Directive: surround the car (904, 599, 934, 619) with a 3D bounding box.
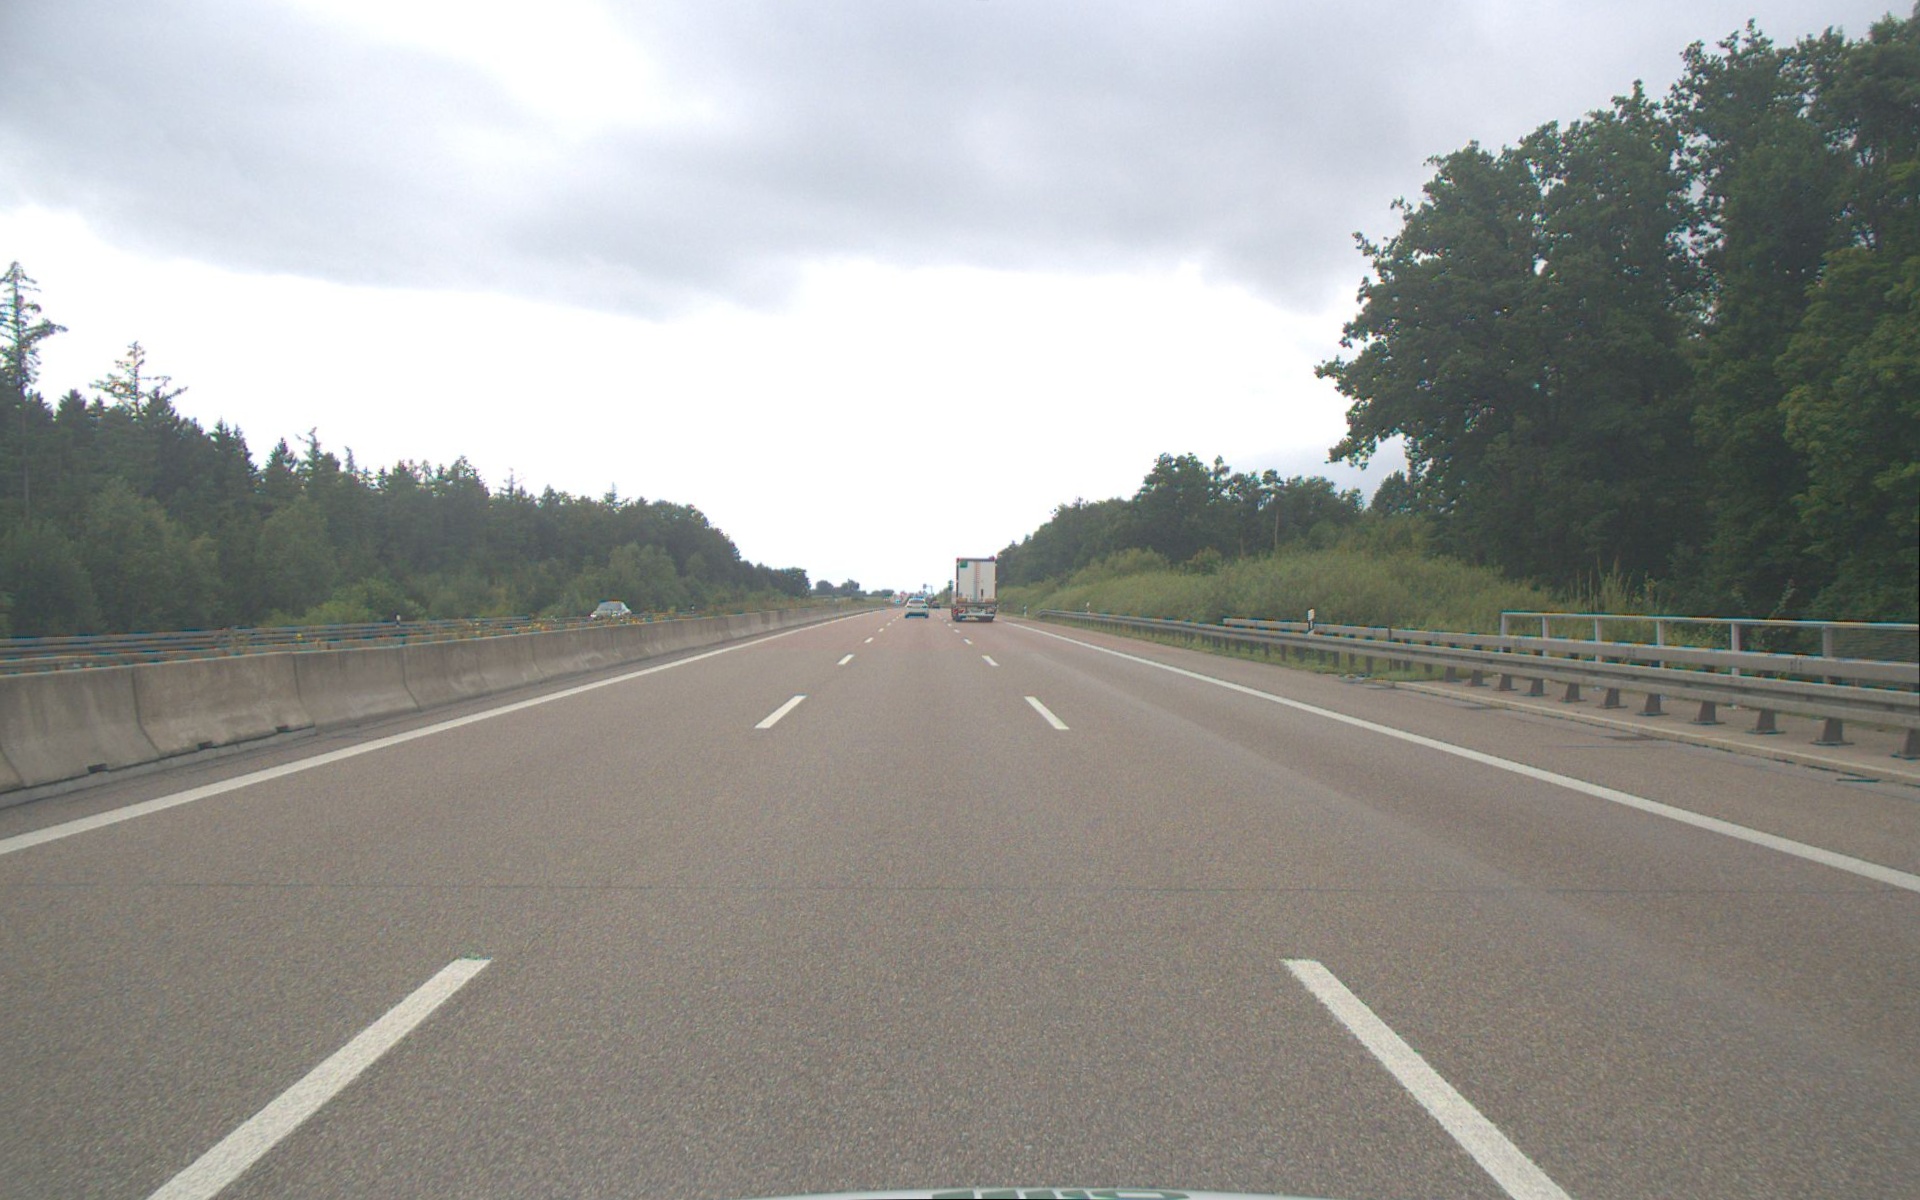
[{"bbox_3d":[-3.175,0.692,128.964,2.119,1.476,4.718,1,0,0],"label":"car"}]

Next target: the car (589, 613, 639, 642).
[{"bbox_3d":[-21.075,1.646,100.806,2.081,1.619,5.196,0,0,-2],"label":"car"}]

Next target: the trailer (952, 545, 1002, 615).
[{"bbox_3d":[1.044,-1.219,110.165,2.862,4.369,13.609,0,0,-1],"label":"trailer"}]
